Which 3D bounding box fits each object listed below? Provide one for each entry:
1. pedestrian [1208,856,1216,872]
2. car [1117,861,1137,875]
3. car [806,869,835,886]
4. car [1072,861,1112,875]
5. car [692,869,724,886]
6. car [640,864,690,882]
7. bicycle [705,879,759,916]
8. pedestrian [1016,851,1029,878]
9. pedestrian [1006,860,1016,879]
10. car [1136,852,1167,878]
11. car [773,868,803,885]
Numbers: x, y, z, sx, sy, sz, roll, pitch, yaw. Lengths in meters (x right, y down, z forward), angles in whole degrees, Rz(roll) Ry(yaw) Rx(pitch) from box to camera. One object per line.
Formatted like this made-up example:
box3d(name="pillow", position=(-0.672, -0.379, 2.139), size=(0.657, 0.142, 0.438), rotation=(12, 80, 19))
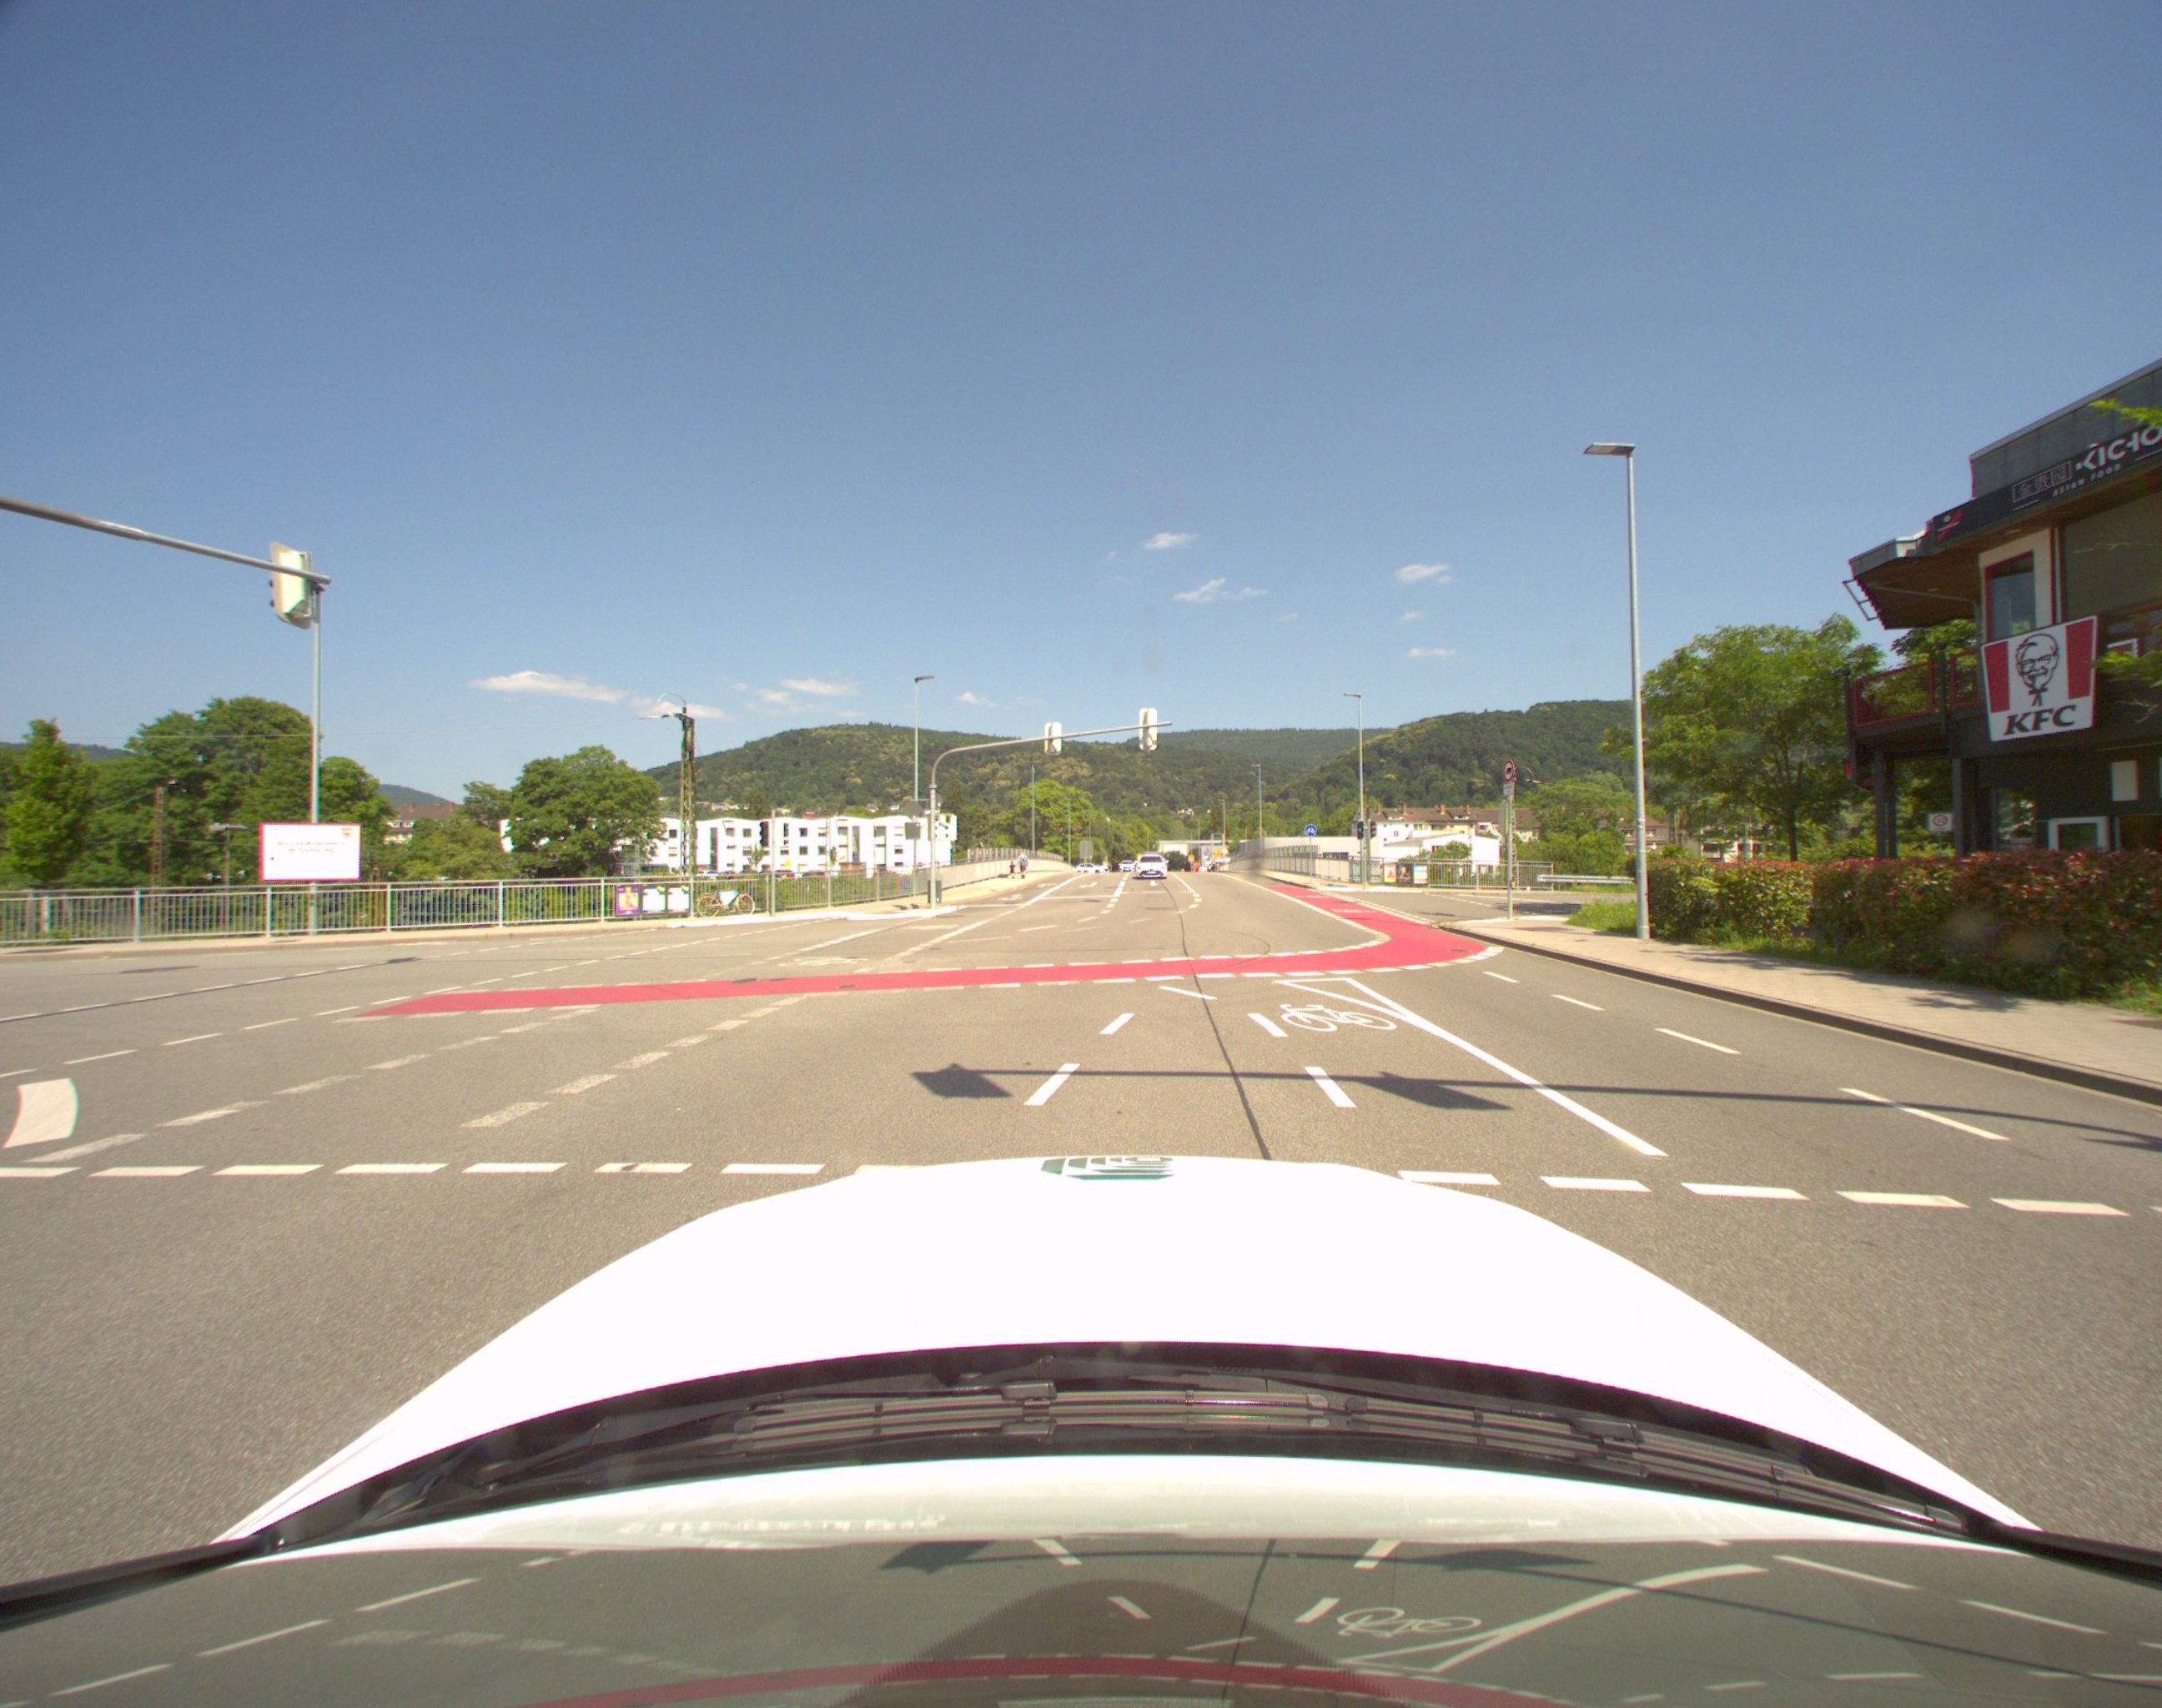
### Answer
box3d(name="pedestrian", position=(16.713, 1.327, 103.898), size=(0.851, 2.014, 1.156), rotation=(-1, -1, 4))
box3d(name="car", position=(5.607, 1.699, 99.469), size=(1.989, 1.719, 4.627), rotation=(-1, 0, -4))
box3d(name="car", position=(-32.826, 2.930, 102.671), size=(1.986, 2.014, 4.472), rotation=(-1, 0, 2))
box3d(name="car", position=(1.467, 1.814, 107.260), size=(4.996, 1.719, 2.013), rotation=(-1, 0, 35))
box3d(name="car", position=(-47.997, 3.002, 104.918), size=(1.986, 2.014, 4.472), rotation=(-1, 0, 2))
box3d(name="car", position=(-50.462, 2.287, 98.891), size=(4.984, 2.112, 1.989), rotation=(-1, 0, -16))
box3d(name="bicycle", position=(-11.214, 1.384, 26.190), size=(0.294, 1.100, 1.630), rotation=(-1, -1, 42))
box3d(name="pedestrian", position=(-3.527, 0.619, 48.773), size=(0.640, 1.618, 0.922), rotation=(-1, -1, 4))
box3d(name="pedestrian", position=(-4.160, 0.893, 48.554), size=(0.509, 1.121, 0.477), rotation=(-1, -1, 3))
box3d(name="car", position=(4.173, 0.629, 48.659), size=(1.724, 1.469, 4.414), rotation=(-1, 0, 3))
box3d(name="car", position=(-36.919, 2.859, 102.841), size=(1.986, 2.014, 4.472), rotation=(-1, 0, 2))
